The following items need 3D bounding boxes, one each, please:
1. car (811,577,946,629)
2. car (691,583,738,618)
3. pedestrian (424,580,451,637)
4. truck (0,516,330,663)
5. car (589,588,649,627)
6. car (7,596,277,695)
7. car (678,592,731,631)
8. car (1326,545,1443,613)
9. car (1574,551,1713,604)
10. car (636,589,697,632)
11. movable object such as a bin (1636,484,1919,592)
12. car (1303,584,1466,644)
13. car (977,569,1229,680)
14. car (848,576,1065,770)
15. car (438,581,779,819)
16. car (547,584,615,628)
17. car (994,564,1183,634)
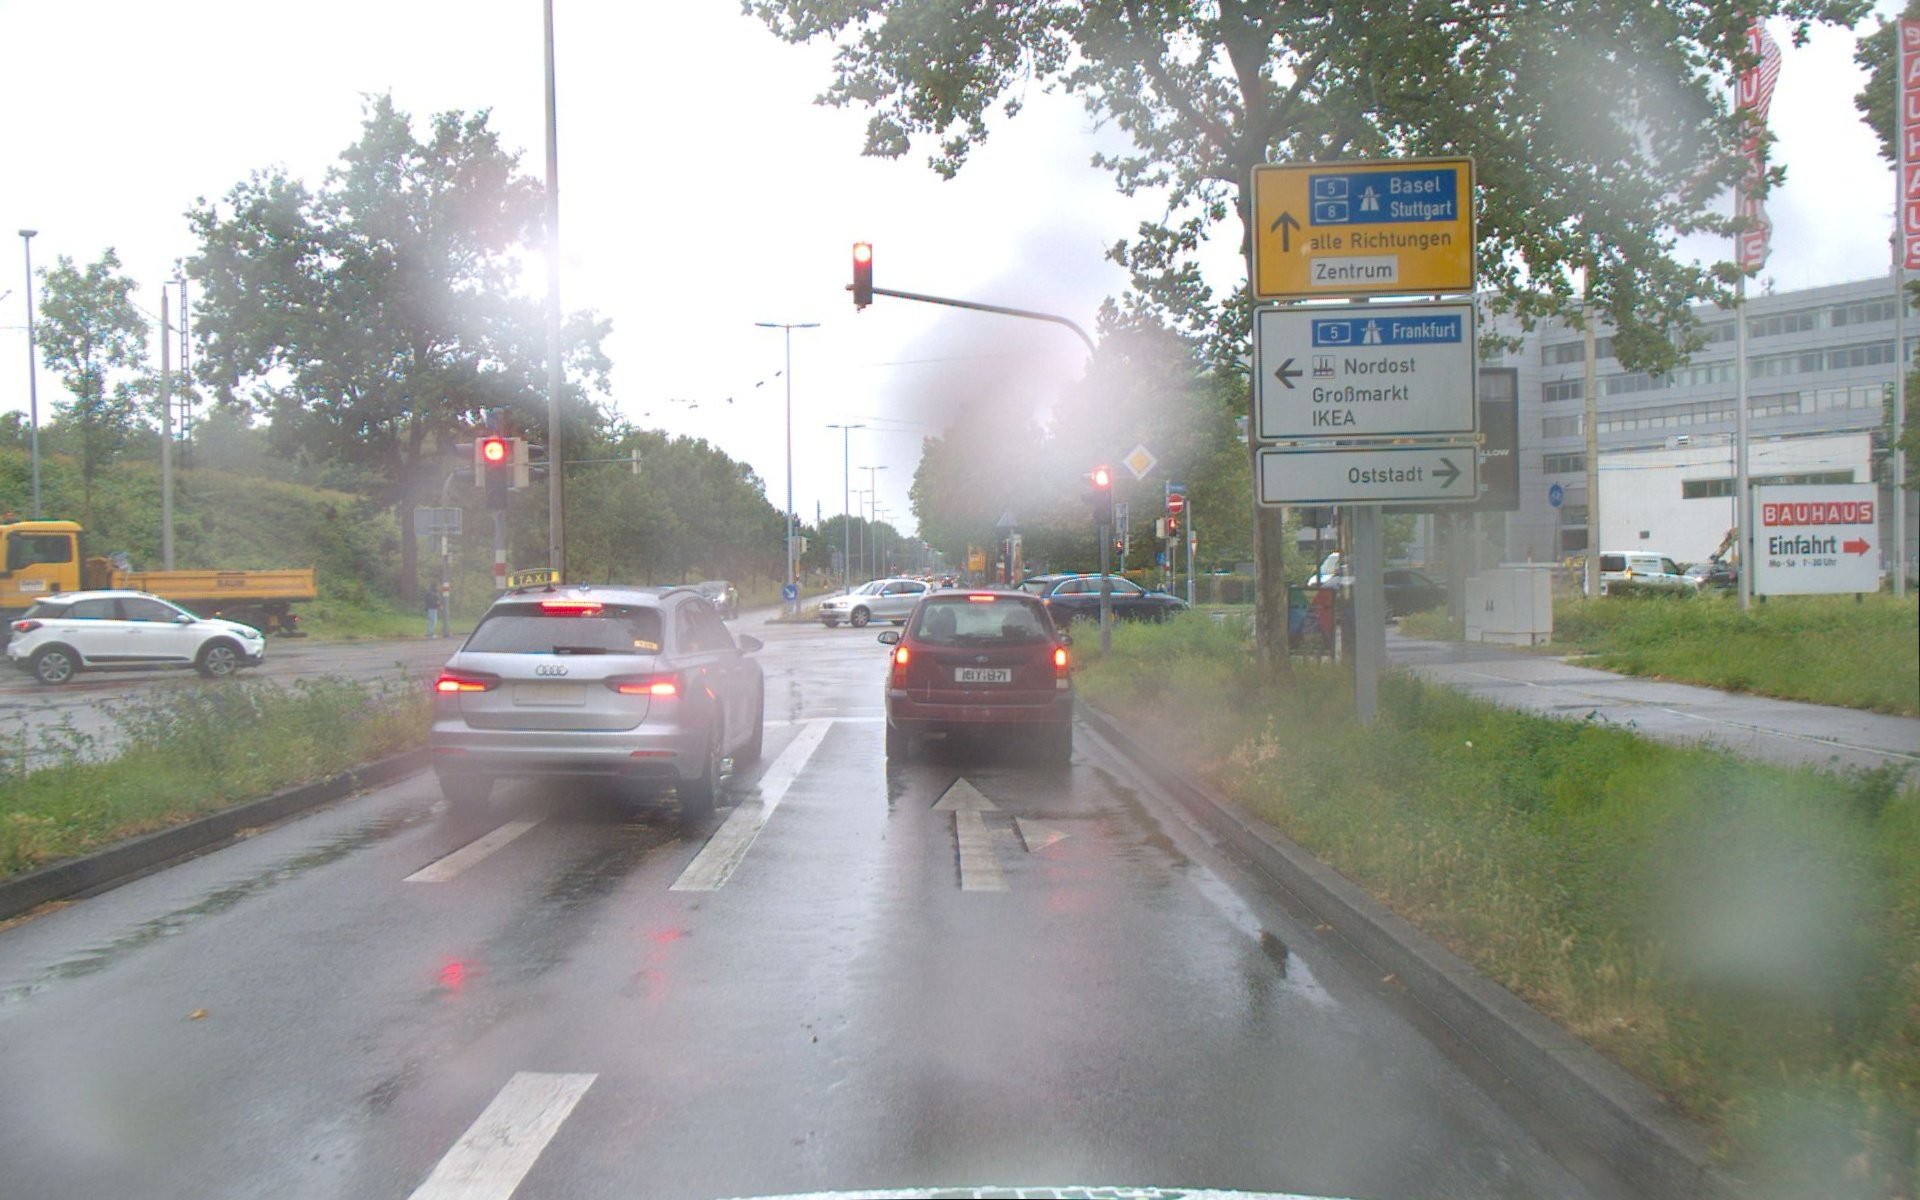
[{"bbox_3d":[-2.520,0.084,51.634,3.962,1.512,1.793,-1,0,-40],"label":"car"},{"bbox_3d":[-11.573,-0.008,78.201,1.678,1.556,3.999,-1,1,-1],"label":"car"},{"bbox_3d":[-16.782,0.270,53.130,0.522,1.817,0.673,0,-1,16],"label":"pedestrian"},{"bbox_3d":[-18.490,-0.283,38.099,6.977,3.107,2.611,-1,0,-38],"label":"truck"},{"bbox_3d":[-14.172,0.288,68.913,1.678,1.556,3.999,-1,1,-1],"label":"car"},{"bbox_3d":[-14.241,0.742,28.849,4.015,1.547,1.976,-1,0,-34],"label":"car"},{"bbox_3d":[-10.886,0.466,70.728,1.678,1.556,3.999,-1,1,-1],"label":"car"},{"bbox_3d":[15.615,-0.788,60.785,4.339,2.228,1.779,-4,2,-36],"label":"car"},{"bbox_3d":[21.335,-0.706,51.594,4.327,1.564,1.784,-1,0,-30],"label":"car"},{"bbox_3d":[-11.252,0.376,63.639,1.678,1.556,3.999,-1,1,-1],"label":"car"},{"bbox_3d":[53.445,-3.793,108.739,8.168,6.393,14.792,1,0,-34],"label":"movable object such as a bin"},{"bbox_3d":[11.593,0.353,45.103,4.327,1.564,1.784,0,0,-30],"label":"car"},{"bbox_3d":[2.505,0.351,28.354,4.349,1.563,1.775,-4,3,-41],"label":"car"},{"bbox_3d":[-0.057,0.586,15.750,1.760,1.564,4.386,1,0,-1],"label":"car"},{"bbox_3d":[-2.408,0.598,12.464,1.656,1.458,4.573,0,0,-1],"label":"car"},{"bbox_3d":[-14.243,0.195,62.373,1.678,1.556,3.999,-1,1,-1],"label":"car"},{"bbox_3d":[3.129,-0.046,40.050,4.327,1.564,1.784,-1,0,-30],"label":"car"}]
